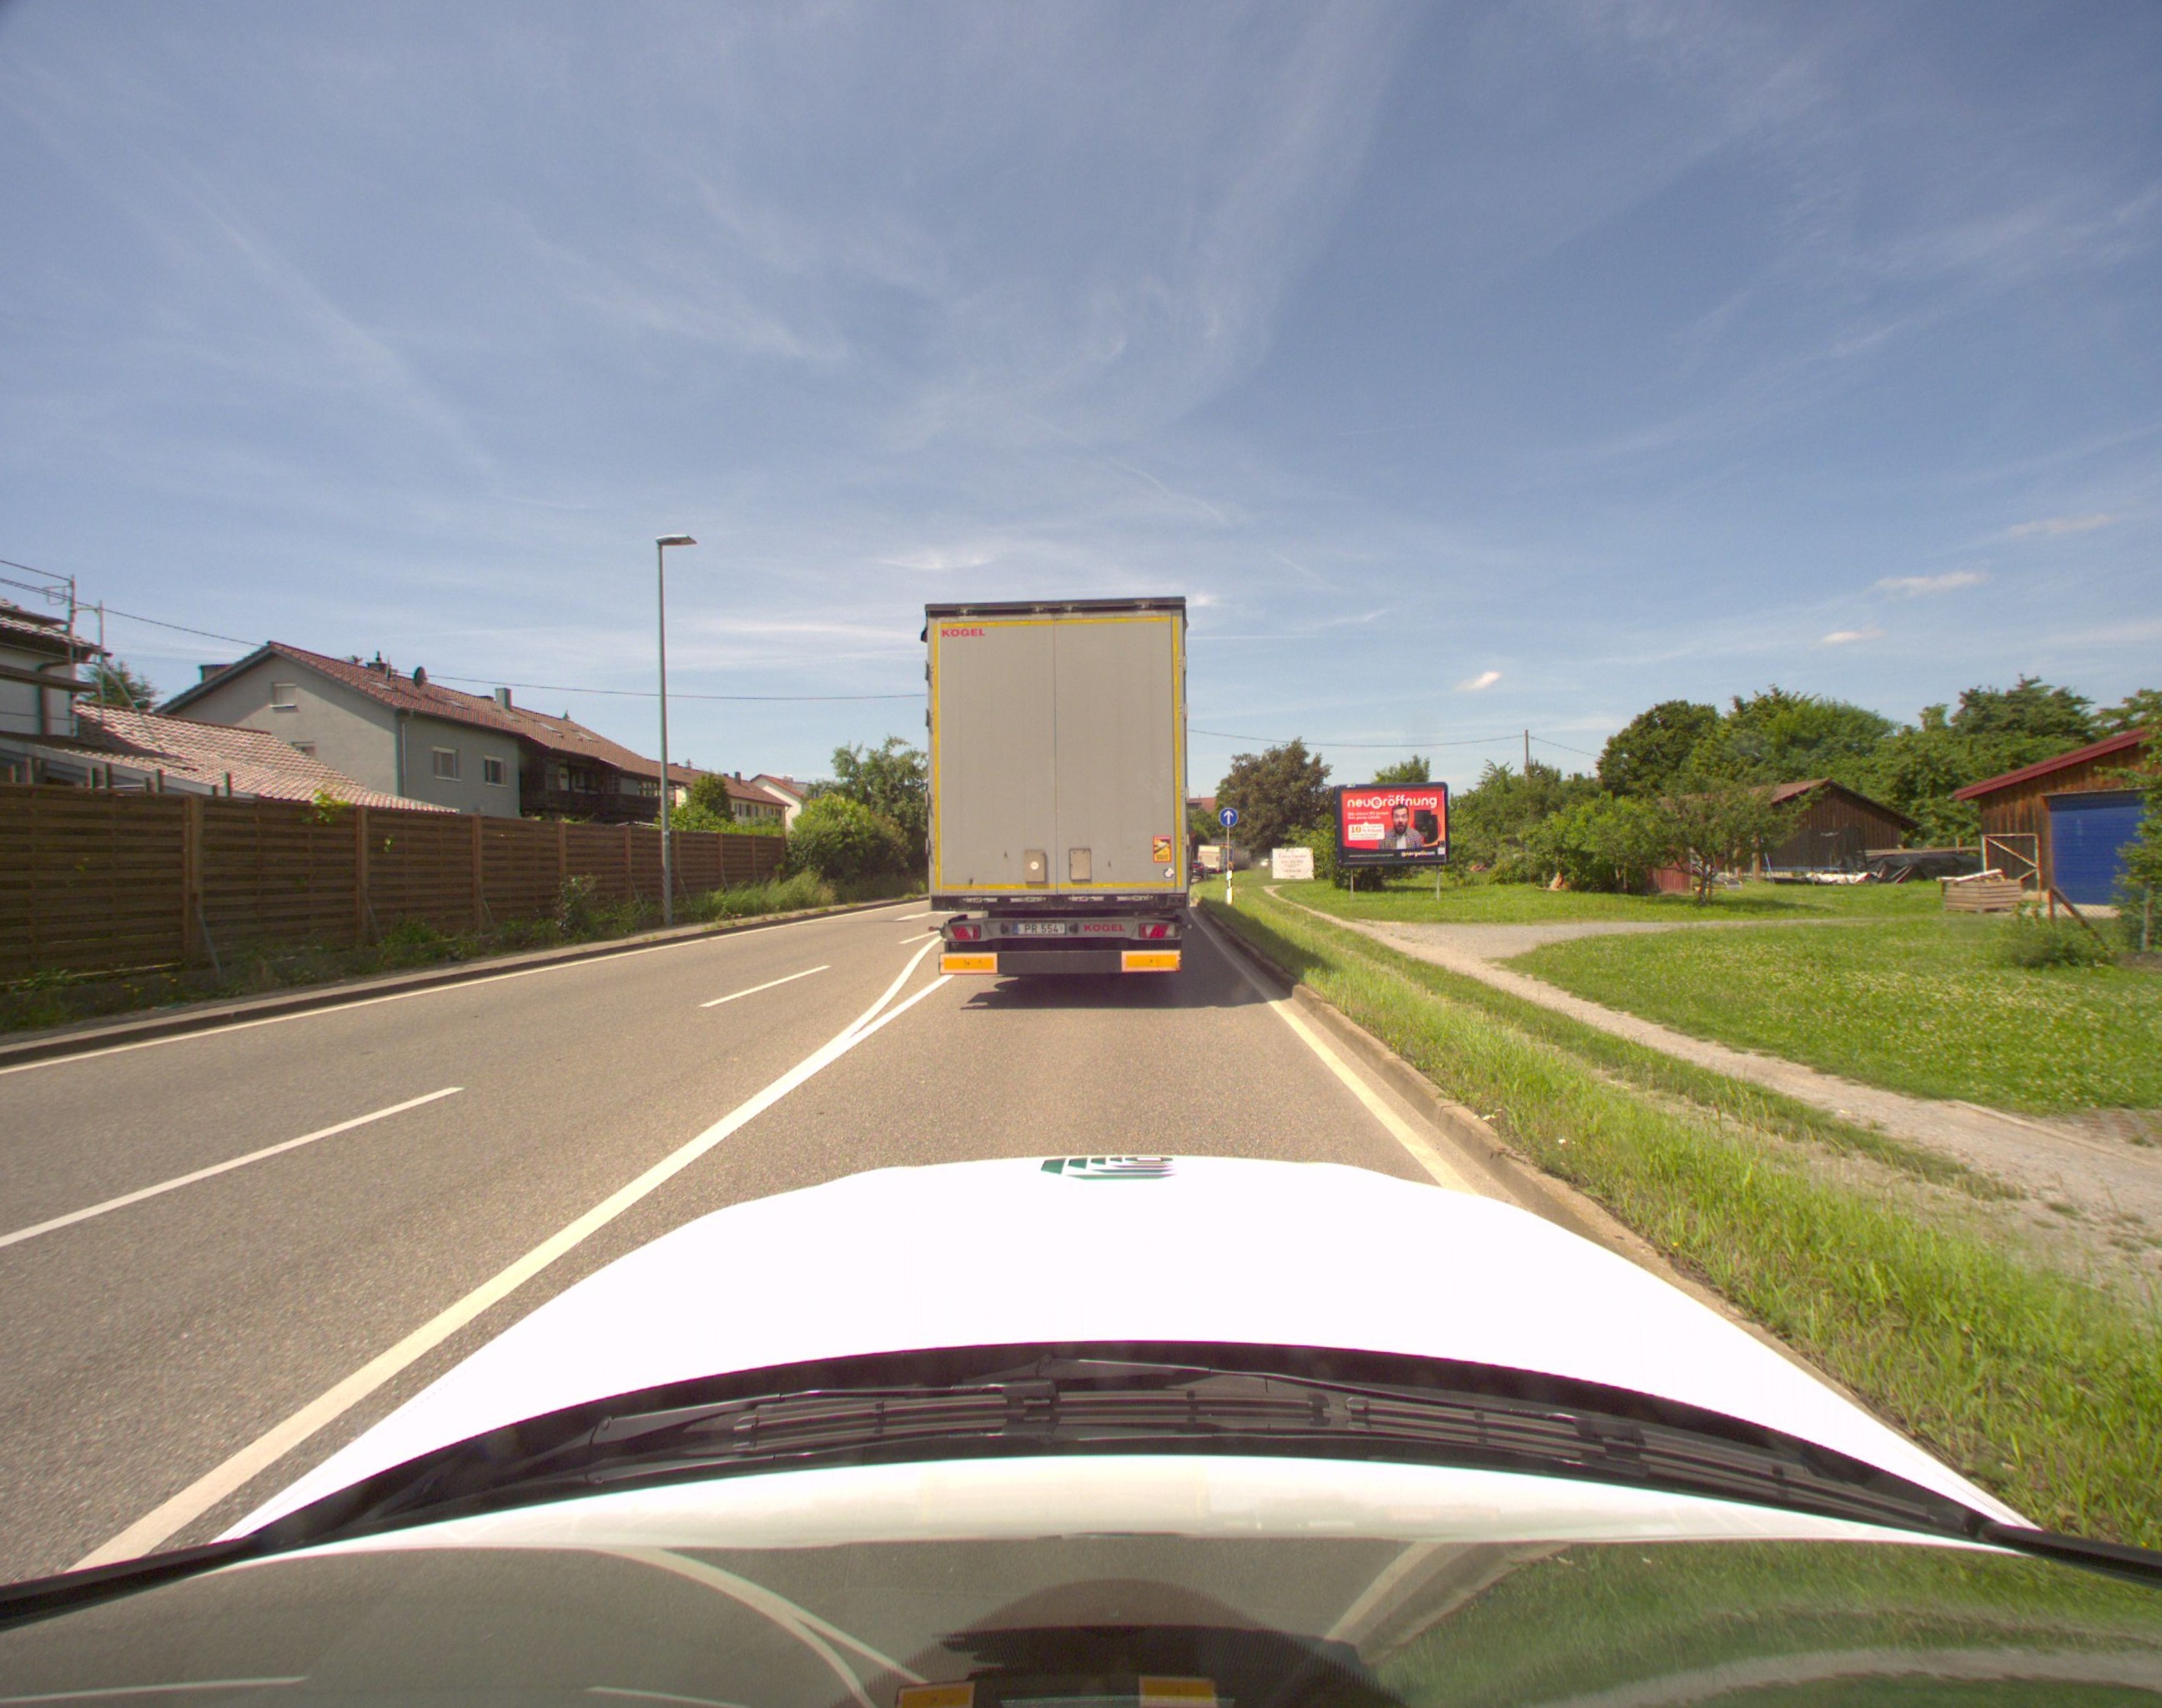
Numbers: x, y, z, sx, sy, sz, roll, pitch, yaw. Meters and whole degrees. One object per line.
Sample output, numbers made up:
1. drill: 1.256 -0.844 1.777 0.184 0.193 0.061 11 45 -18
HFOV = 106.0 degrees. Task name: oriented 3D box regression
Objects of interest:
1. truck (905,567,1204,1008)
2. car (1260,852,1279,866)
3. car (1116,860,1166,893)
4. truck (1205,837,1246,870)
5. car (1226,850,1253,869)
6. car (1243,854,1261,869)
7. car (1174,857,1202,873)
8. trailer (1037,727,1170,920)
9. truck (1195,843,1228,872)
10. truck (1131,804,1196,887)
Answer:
1. truck: 0.171 -0.632 13.408 2.809 4.127 11.457 0 0 4
2. car: 27.488 0.742 118.704 1.976 2.014 4.021 -1 -1 22
3. car: 2.647 0.954 35.113 1.808 1.346 3.857 0 -1 9
4. truck: 16.496 -0.111 92.538 3.406 3.604 9.396 0 0 17
5. car: 19.750 0.706 101.359 2.512 2.277 6.410 0 0 18
6. car: 23.205 1.018 110.643 1.978 2.014 4.018 -1 -1 17
7. car: 9.544 0.973 72.362 1.979 1.376 4.015 0 -1 14
8. trailer: 0.739 -0.657 20.814 2.812 4.111 6.552 -1 0 4
9. truck: 13.175 0.357 81.857 2.524 2.803 6.057 0 -1 16
10. truck: 5.459 -0.317 50.731 2.743 4.289 16.460 0 -1 10
